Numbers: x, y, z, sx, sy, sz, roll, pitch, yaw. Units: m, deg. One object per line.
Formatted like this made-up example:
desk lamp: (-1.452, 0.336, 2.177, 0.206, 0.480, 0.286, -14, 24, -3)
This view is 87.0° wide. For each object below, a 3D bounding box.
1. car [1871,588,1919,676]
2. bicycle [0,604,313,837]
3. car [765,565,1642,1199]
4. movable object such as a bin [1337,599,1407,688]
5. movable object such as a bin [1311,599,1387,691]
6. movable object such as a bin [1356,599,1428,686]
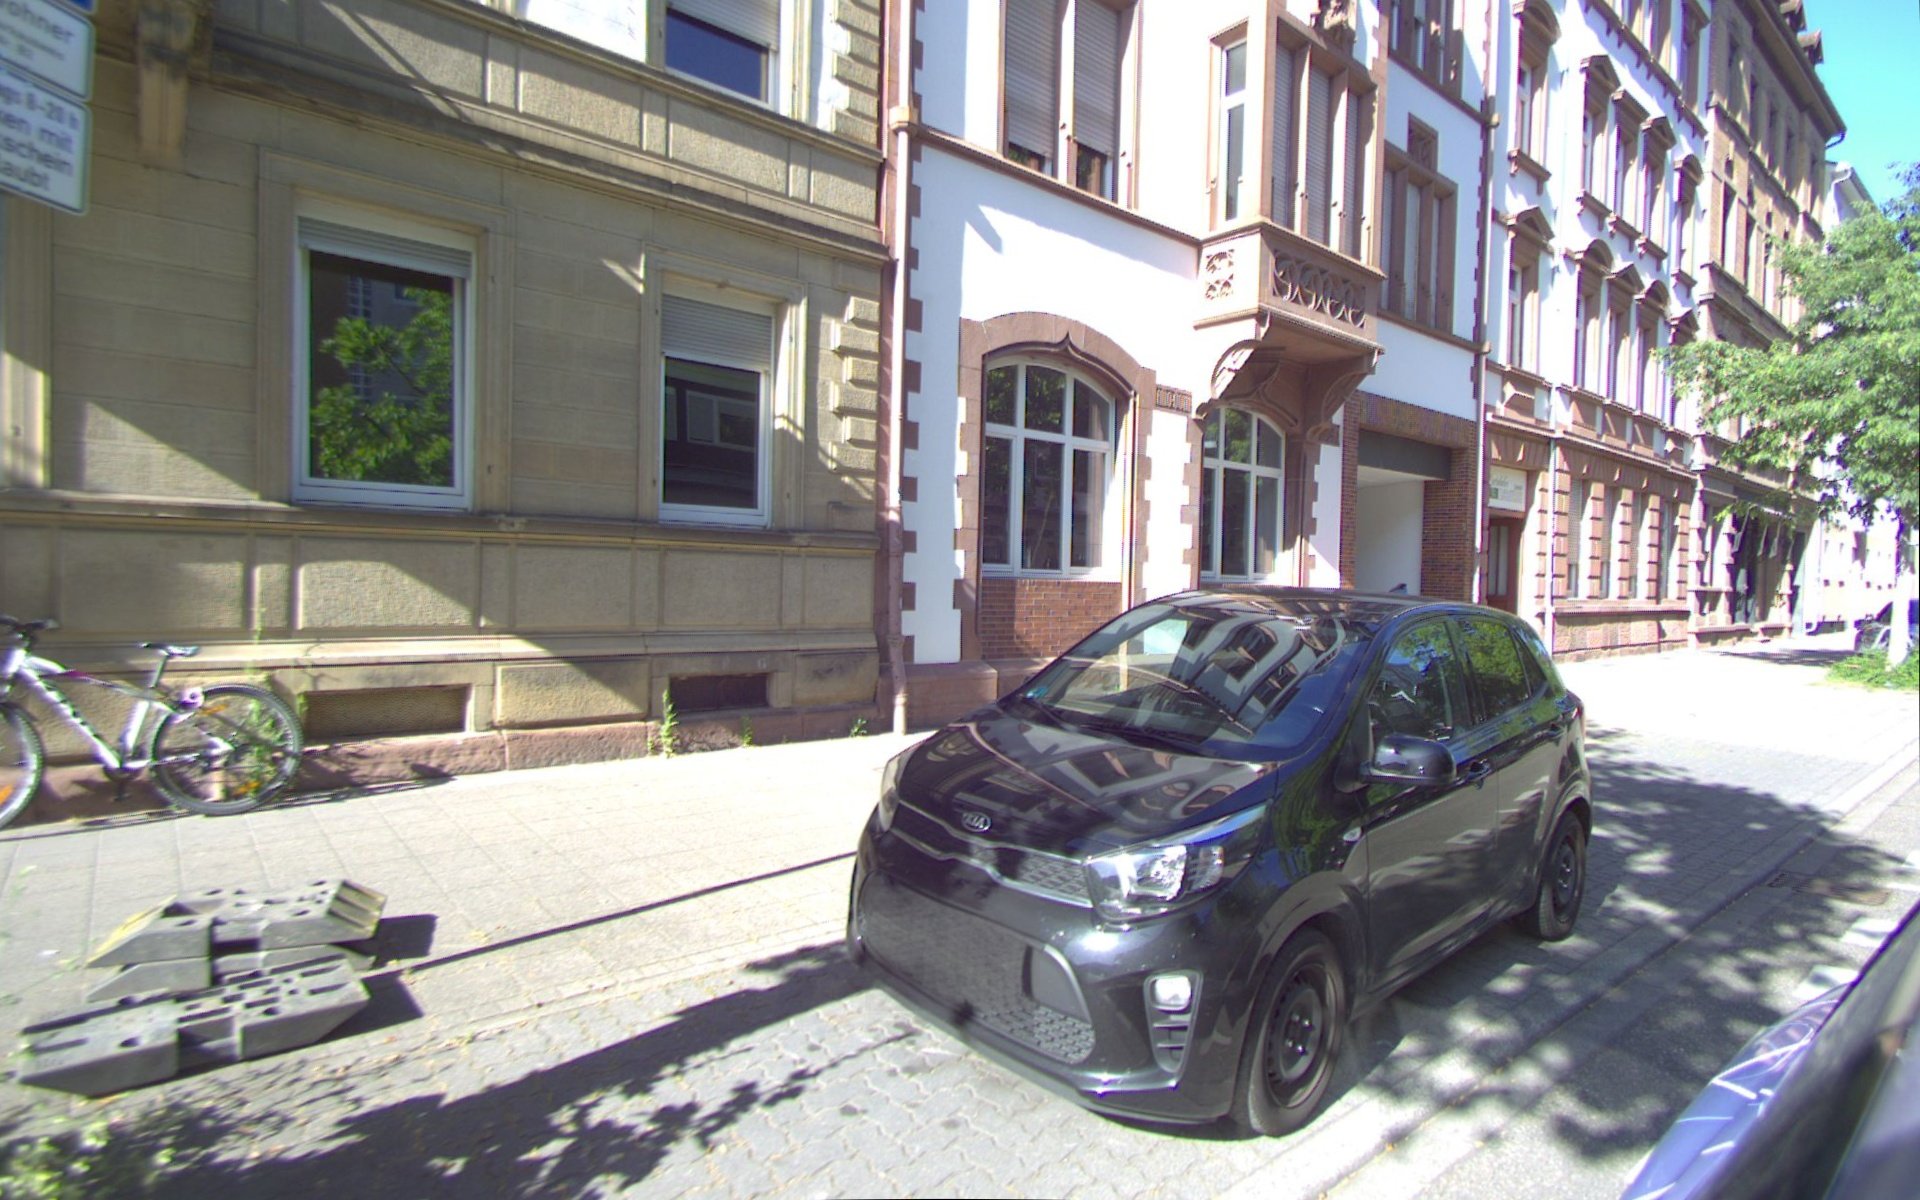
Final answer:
car: (18.125, 0.560, 18.437, 4.232, 1.469, 1.742, 0, 2, -41)
bicycle: (-4.200, 0.565, 5.216, 1.403, 1.043, 0.433, 0, 5, -41)
car: (1.199, 0.657, 3.993, 3.519, 1.494, 1.638, 0, 2, -42)
movable object such as a bin: (5.253, 0.539, 12.906, 0.512, 1.082, 0.639, 0, 1, -40)
movable object such as a bin: (4.810, 0.539, 12.526, 0.621, 1.082, 0.639, 0, 1, -40)
movable object such as a bin: (5.666, 0.534, 13.273, 0.628, 1.082, 0.639, 0, 1, -40)
